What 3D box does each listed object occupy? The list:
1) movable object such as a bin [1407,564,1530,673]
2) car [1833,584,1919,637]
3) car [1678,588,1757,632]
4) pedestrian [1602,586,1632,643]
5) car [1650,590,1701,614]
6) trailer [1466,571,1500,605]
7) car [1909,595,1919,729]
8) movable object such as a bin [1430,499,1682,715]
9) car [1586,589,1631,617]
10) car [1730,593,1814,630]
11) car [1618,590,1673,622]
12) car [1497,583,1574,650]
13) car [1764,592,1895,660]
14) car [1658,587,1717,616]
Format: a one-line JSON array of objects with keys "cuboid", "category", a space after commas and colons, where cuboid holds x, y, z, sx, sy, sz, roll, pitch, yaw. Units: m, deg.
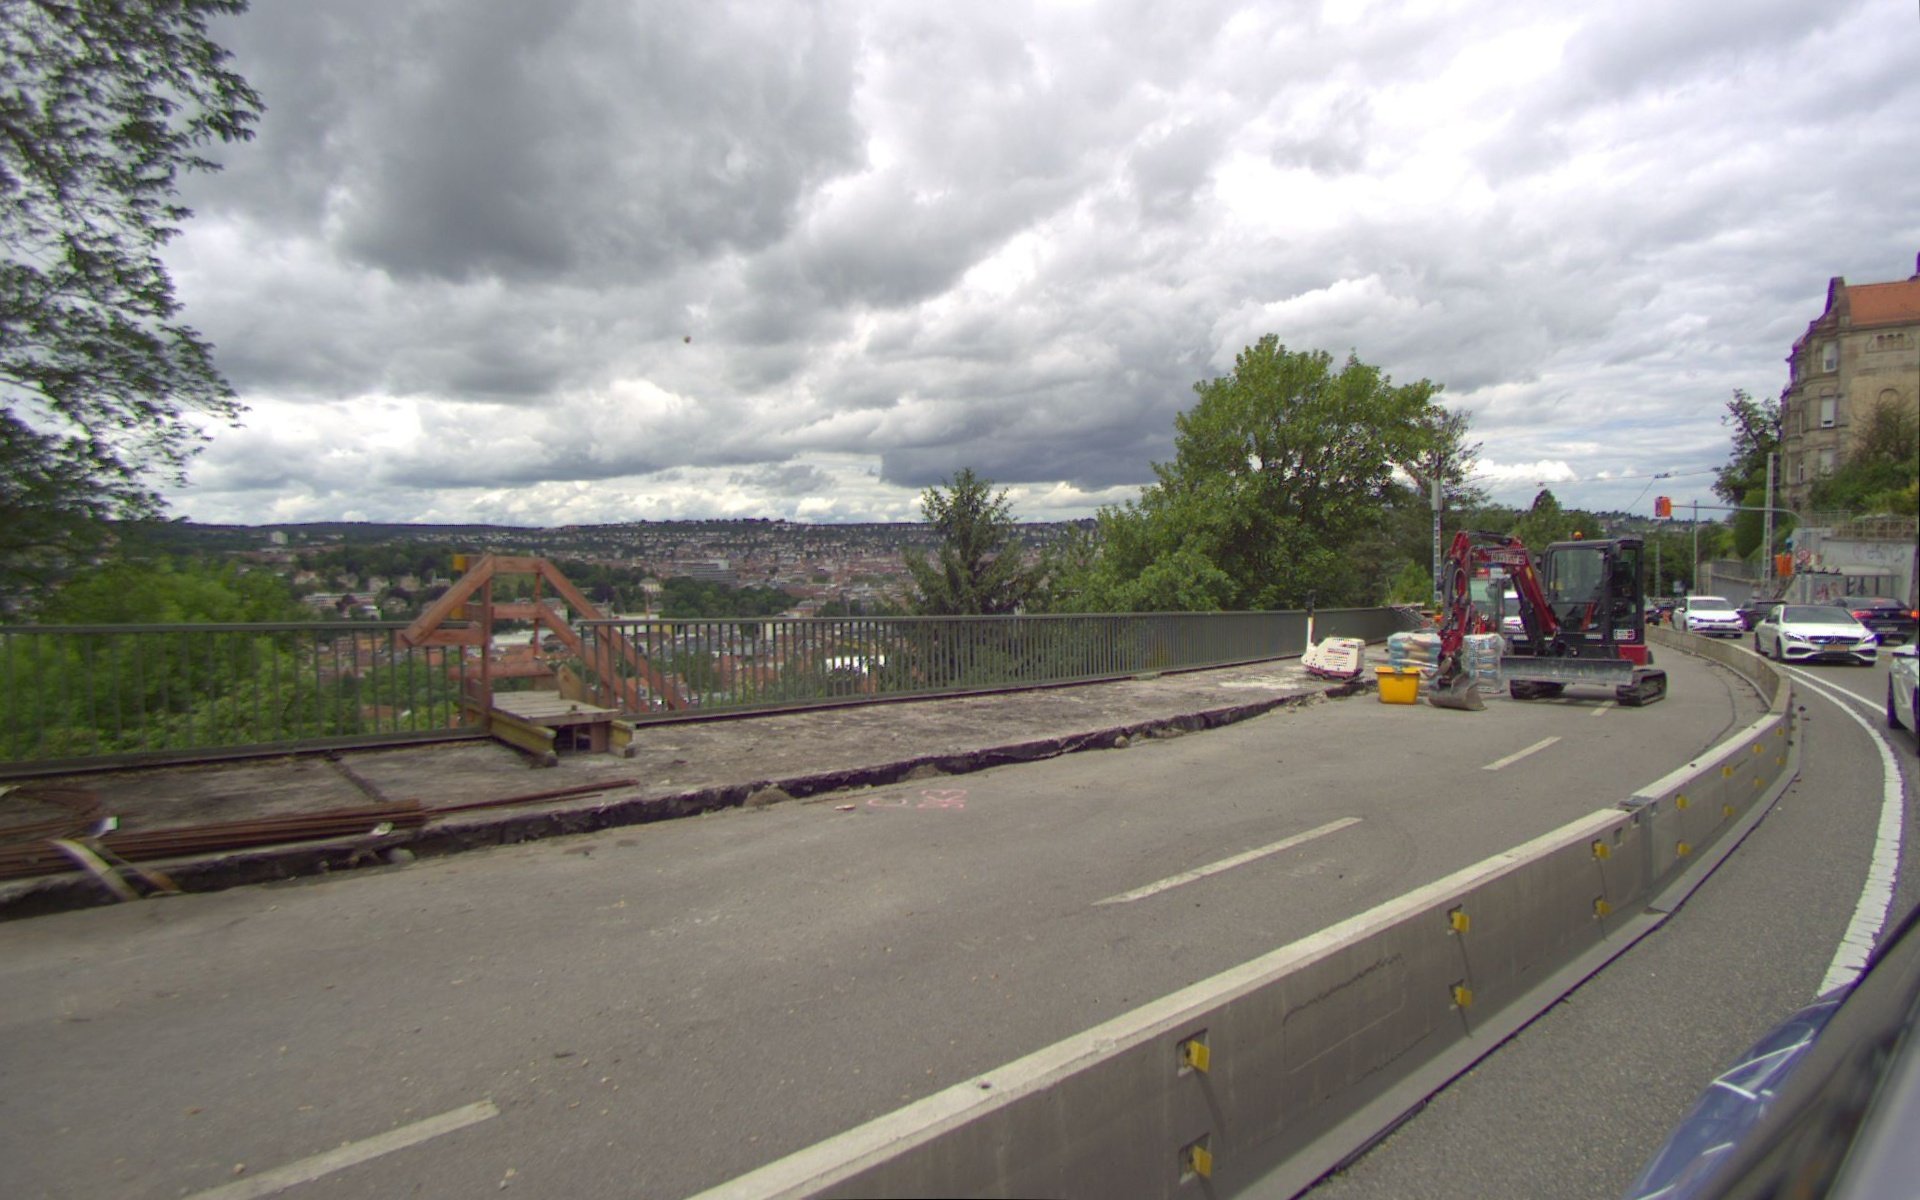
[{"cuboid": [10.345, 0.320, 20.441, 1.695, 1.967, 4.113, 0, 0, 34], "category": "movable object such as a bin"}, {"cuboid": [29.748, 0.314, 32.572, 1.759, 1.588, 4.182, -1, 0, 31], "category": "car"}, {"cuboid": [29.416, 0.368, 39.413, 1.777, 1.570, 4.203, 1, 1, 28], "category": "car"}, {"cuboid": [19.986, 0.441, 30.795, 0.641, 1.723, 0.842, -1, -1, 27], "category": "pedestrian"}, {"cuboid": [46.521, 0.104, 65.879, 1.781, 1.464, 4.328, 1, 2, 23], "category": "car"}, {"cuboid": [42.397, -0.953, 81.980, 2.096, 2.581, 5.064, 3, 2, 30], "category": "trailer"}, {"cuboid": [11.201, 0.711, 10.472, 1.785, 1.499, 4.183, 1, 1, 40], "category": "car"}, {"cuboid": [9.060, 0.079, 15.175, 2.212, 2.696, 4.866, 0, 0, 44], "category": "movable object such as a bin"}, {"cuboid": [41.074, 0.164, 64.213, 1.781, 1.528, 3.967, 3, 3, 25], "category": "car"}, {"cuboid": [36.171, 0.471, 45.185, 1.781, 1.464, 4.328, 1, 2, 23], "category": "car"}, {"cuboid": [36.474, 0.291, 53.908, 1.782, 1.528, 3.965, 3, 3, 26], "category": "car"}, {"cuboid": [16.808, 0.427, 29.523, 1.824, 1.802, 4.221, 0, 0, 31], "category": "car"}, {"cuboid": [21.163, 0.555, 24.806, 1.779, 1.499, 4.197, 1, 1, 32], "category": "car"}, {"cuboid": [40.593, 0.084, 56.572, 1.753, 1.588, 4.196, -1, 0, 23], "category": "car"}]
